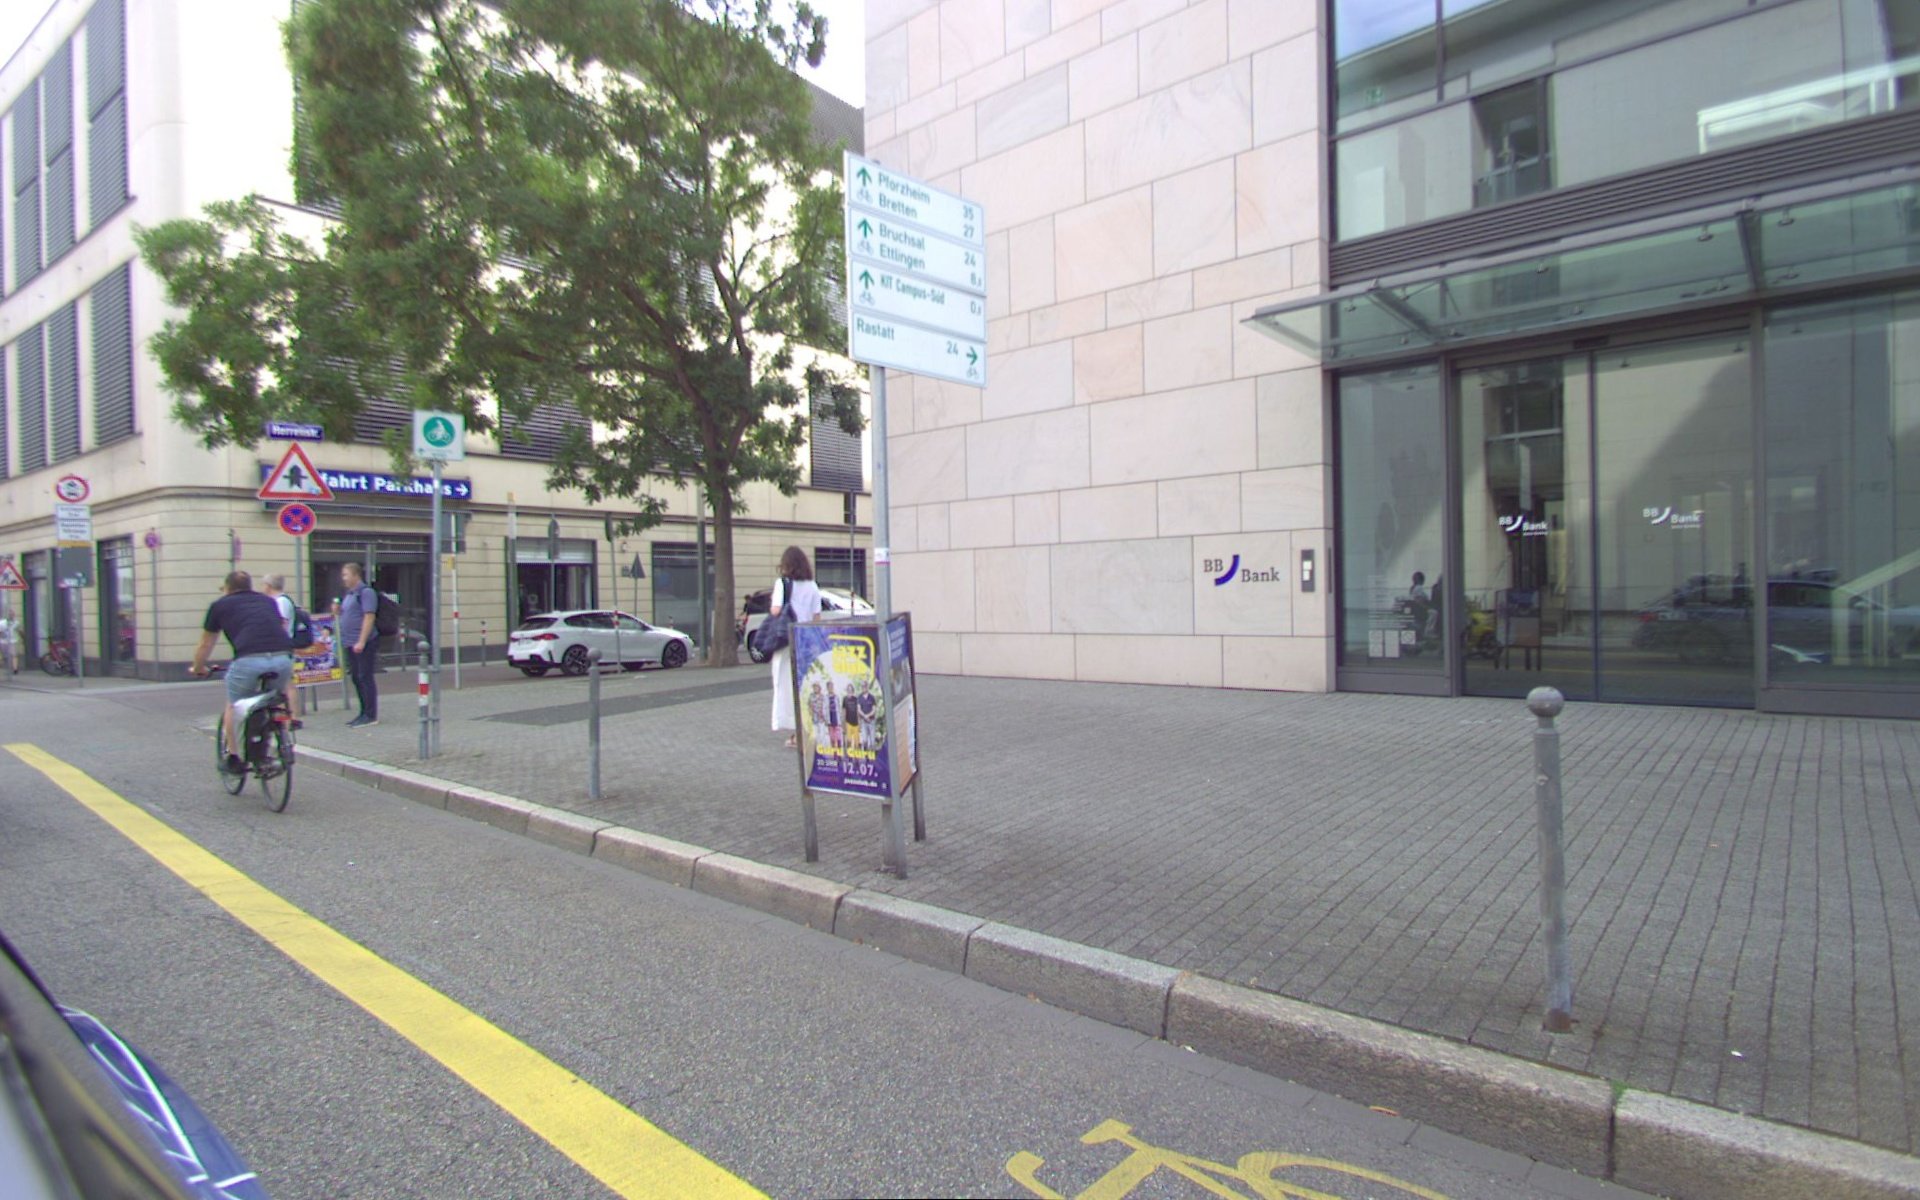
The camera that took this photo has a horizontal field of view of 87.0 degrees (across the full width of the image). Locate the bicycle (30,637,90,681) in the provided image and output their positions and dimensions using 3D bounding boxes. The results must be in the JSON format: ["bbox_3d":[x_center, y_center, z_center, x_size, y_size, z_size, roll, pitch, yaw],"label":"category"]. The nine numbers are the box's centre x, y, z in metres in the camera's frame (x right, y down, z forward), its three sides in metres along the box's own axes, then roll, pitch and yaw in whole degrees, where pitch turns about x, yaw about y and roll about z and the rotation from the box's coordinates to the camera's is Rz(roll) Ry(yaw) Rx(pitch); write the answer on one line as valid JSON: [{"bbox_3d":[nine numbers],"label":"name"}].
[{"bbox_3d":[-23.412,1.507,26.302,2.539,1.052,0.684,-1,0,37],"label":"bicycle"}]

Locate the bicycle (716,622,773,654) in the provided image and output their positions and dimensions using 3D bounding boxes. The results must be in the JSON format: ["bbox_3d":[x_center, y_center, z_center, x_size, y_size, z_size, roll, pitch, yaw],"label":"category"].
[{"bbox_3d":[-6.741,1.175,31.676,0.601,0.840,1.703,-4,1,38],"label":"bicycle"}]

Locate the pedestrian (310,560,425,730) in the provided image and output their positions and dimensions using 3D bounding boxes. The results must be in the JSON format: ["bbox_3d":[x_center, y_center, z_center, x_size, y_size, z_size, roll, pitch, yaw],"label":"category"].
[{"bbox_3d":[-6.730,0.491,11.520,0.753,1.827,0.738,-2,3,29],"label":"pedestrian"}]

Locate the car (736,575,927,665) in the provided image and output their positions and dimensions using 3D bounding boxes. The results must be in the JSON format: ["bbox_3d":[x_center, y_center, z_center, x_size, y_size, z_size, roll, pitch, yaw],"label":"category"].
[{"bbox_3d":[-2.896,0.472,22.476,3.957,1.706,1.876,-5,-3,37],"label":"car"}]

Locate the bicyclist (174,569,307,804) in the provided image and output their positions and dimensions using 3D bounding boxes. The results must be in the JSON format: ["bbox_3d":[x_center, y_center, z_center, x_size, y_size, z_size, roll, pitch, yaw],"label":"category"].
[{"bbox_3d":[-5.510,0.625,7.744,0.635,1.666,0.940,3,-3,-45],"label":"bicyclist"}]

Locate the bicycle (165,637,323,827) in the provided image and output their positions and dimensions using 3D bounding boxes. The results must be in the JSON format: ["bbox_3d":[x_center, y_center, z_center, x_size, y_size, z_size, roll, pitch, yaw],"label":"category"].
[{"bbox_3d":[-5.513,0.924,7.742,0.639,1.250,1.954,3,-3,-45],"label":"bicycle"}]

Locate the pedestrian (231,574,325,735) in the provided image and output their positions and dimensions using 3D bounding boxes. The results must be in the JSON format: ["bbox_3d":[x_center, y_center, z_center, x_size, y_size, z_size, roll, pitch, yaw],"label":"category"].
[{"bbox_3d":[-7.809,0.603,11.595,0.651,1.778,0.637,-2,0,29],"label":"pedestrian"}]

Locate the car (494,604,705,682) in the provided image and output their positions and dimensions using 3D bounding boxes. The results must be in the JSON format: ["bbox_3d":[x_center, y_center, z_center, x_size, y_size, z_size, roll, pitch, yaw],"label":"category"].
[{"bbox_3d":[-8.242,0.908,23.443,1.813,1.593,4.310,-1,0,38],"label":"car"}]

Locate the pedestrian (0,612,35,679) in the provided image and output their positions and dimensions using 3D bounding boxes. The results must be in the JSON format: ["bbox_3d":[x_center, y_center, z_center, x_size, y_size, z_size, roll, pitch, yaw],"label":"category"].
[{"bbox_3d":[-26.675,1.266,28.376,0.878,1.778,1.063,-5,3,-36],"label":"pedestrian"}]

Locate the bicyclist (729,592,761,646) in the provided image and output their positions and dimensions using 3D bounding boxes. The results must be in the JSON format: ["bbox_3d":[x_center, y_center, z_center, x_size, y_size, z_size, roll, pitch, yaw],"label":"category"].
[{"bbox_3d":[-6.721,0.589,31.686,0.622,1.631,0.635,-2,1,40],"label":"bicyclist"}]

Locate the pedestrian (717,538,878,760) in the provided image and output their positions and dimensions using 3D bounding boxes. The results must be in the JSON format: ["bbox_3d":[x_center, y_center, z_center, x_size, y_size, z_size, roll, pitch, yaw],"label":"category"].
[{"bbox_3d":[-1.366,0.372,8.548,0.909,1.721,0.868,-1,4,40],"label":"pedestrian"}]
